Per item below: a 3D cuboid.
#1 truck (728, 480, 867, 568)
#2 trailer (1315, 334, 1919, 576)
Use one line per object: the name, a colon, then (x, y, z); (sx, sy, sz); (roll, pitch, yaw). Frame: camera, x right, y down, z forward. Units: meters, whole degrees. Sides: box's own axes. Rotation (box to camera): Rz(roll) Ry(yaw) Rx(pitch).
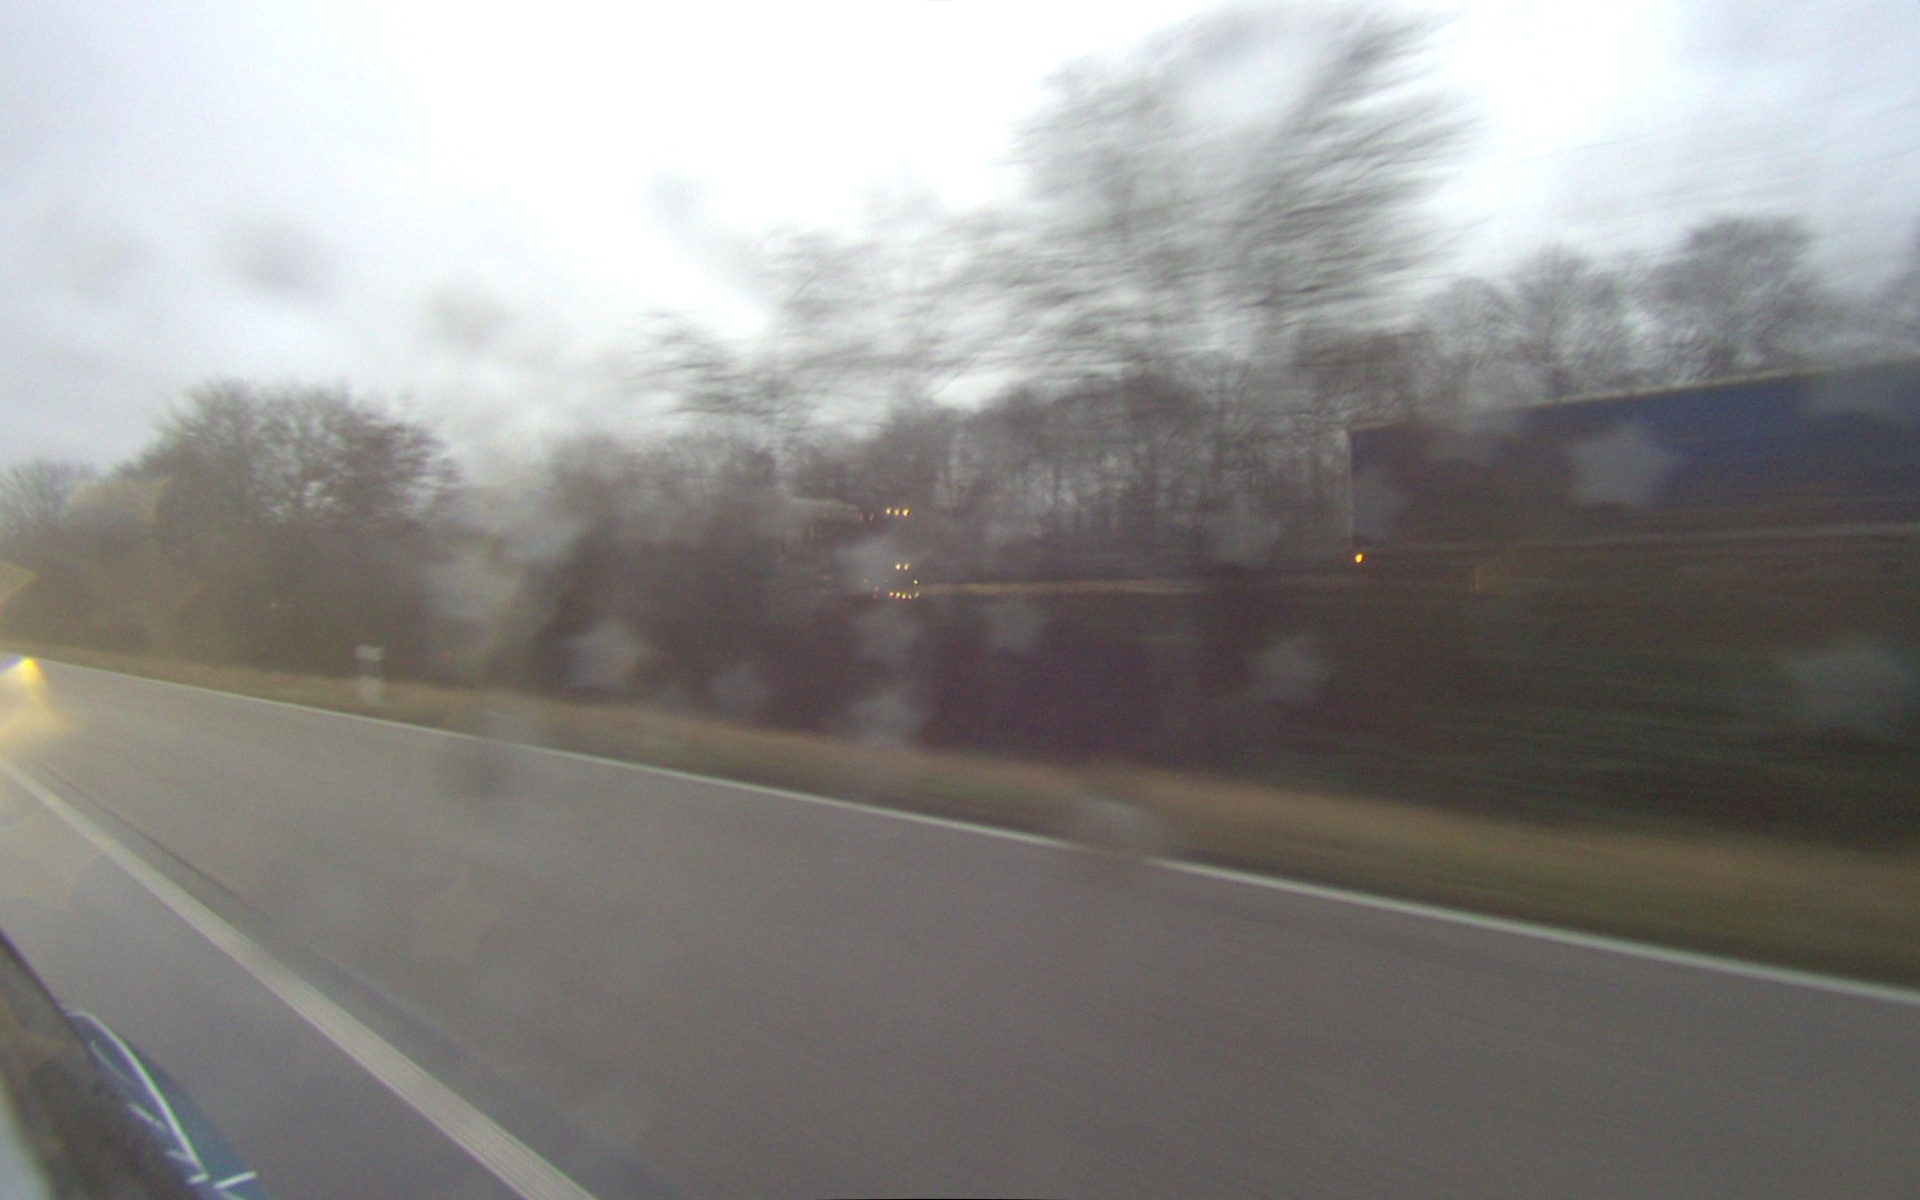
truck: (-6.454, -2.856, 39.728); (5.581, 2.909, 2.424); (-2, -2, 42)
trailer: (13.796, -2.599, 21.674); (11.381, 3.661, 2.967); (-2, -2, 41)
